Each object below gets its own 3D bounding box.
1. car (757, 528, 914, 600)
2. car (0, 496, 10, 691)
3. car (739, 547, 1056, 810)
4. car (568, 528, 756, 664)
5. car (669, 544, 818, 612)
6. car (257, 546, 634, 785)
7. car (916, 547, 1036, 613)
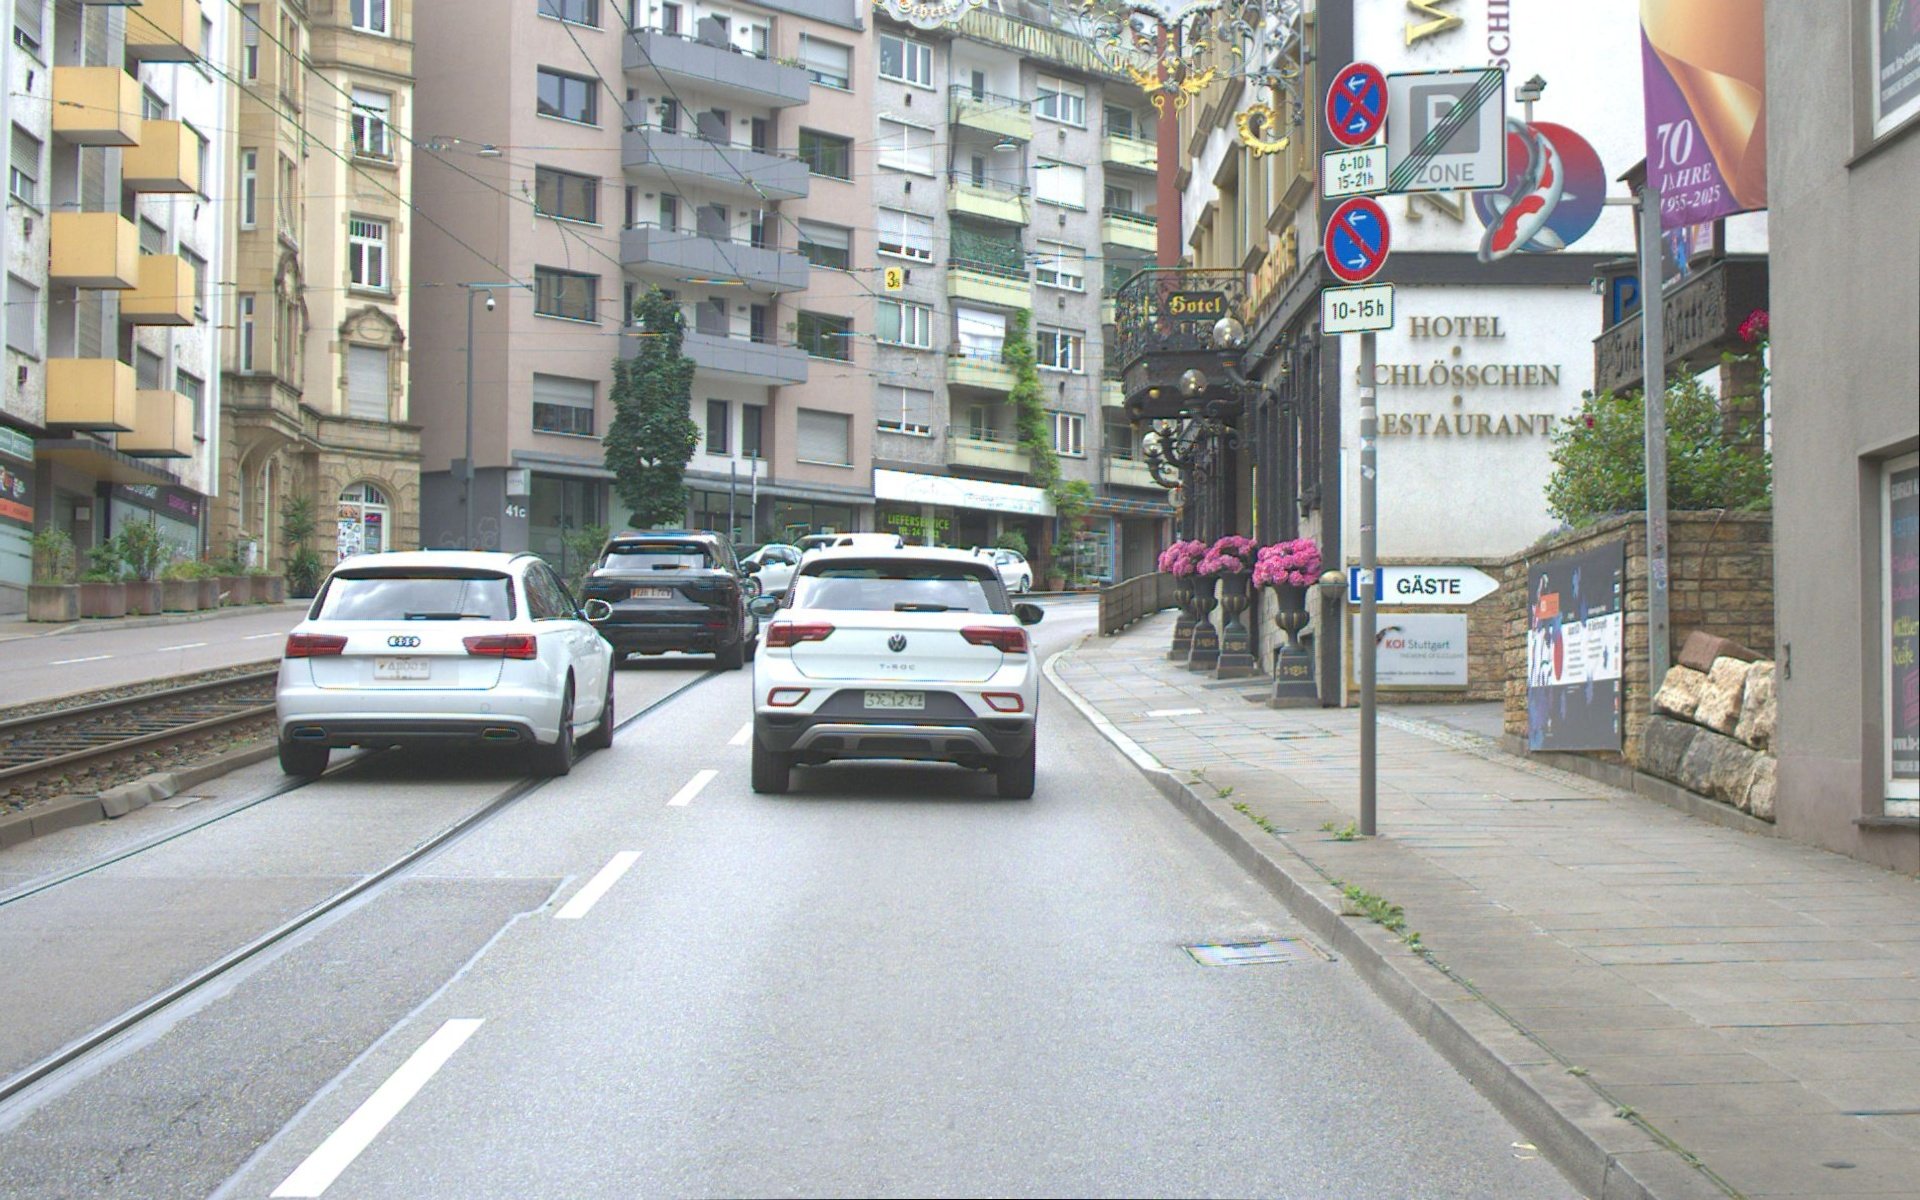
[{"bbox_3d":[-3.599,-1.053,99.999,1.998,2.028,4.691,1,1,38],"label":"car"},{"bbox_3d":[-10.167,-0.031,31.182,1.957,1.894,5.319,1,1,-4],"label":"car"},{"bbox_3d":[-0.424,0.441,22.576,1.879,1.549,4.000,1,1,-1],"label":"car"},{"bbox_3d":[-3.602,-0.090,42.222,2.038,1.566,4.359,0,1,-2],"label":"car"},{"bbox_3d":[-5.660,-0.587,90.214,1.797,1.722,3.992,1,1,35],"label":"car"},{"bbox_3d":[-3.389,0.368,23.473,1.879,1.450,4.617,1,1,0],"label":"car"},{"bbox_3d":[0.511,-0.617,103.456,1.906,1.916,4.429,1,1,25],"label":"car"}]
